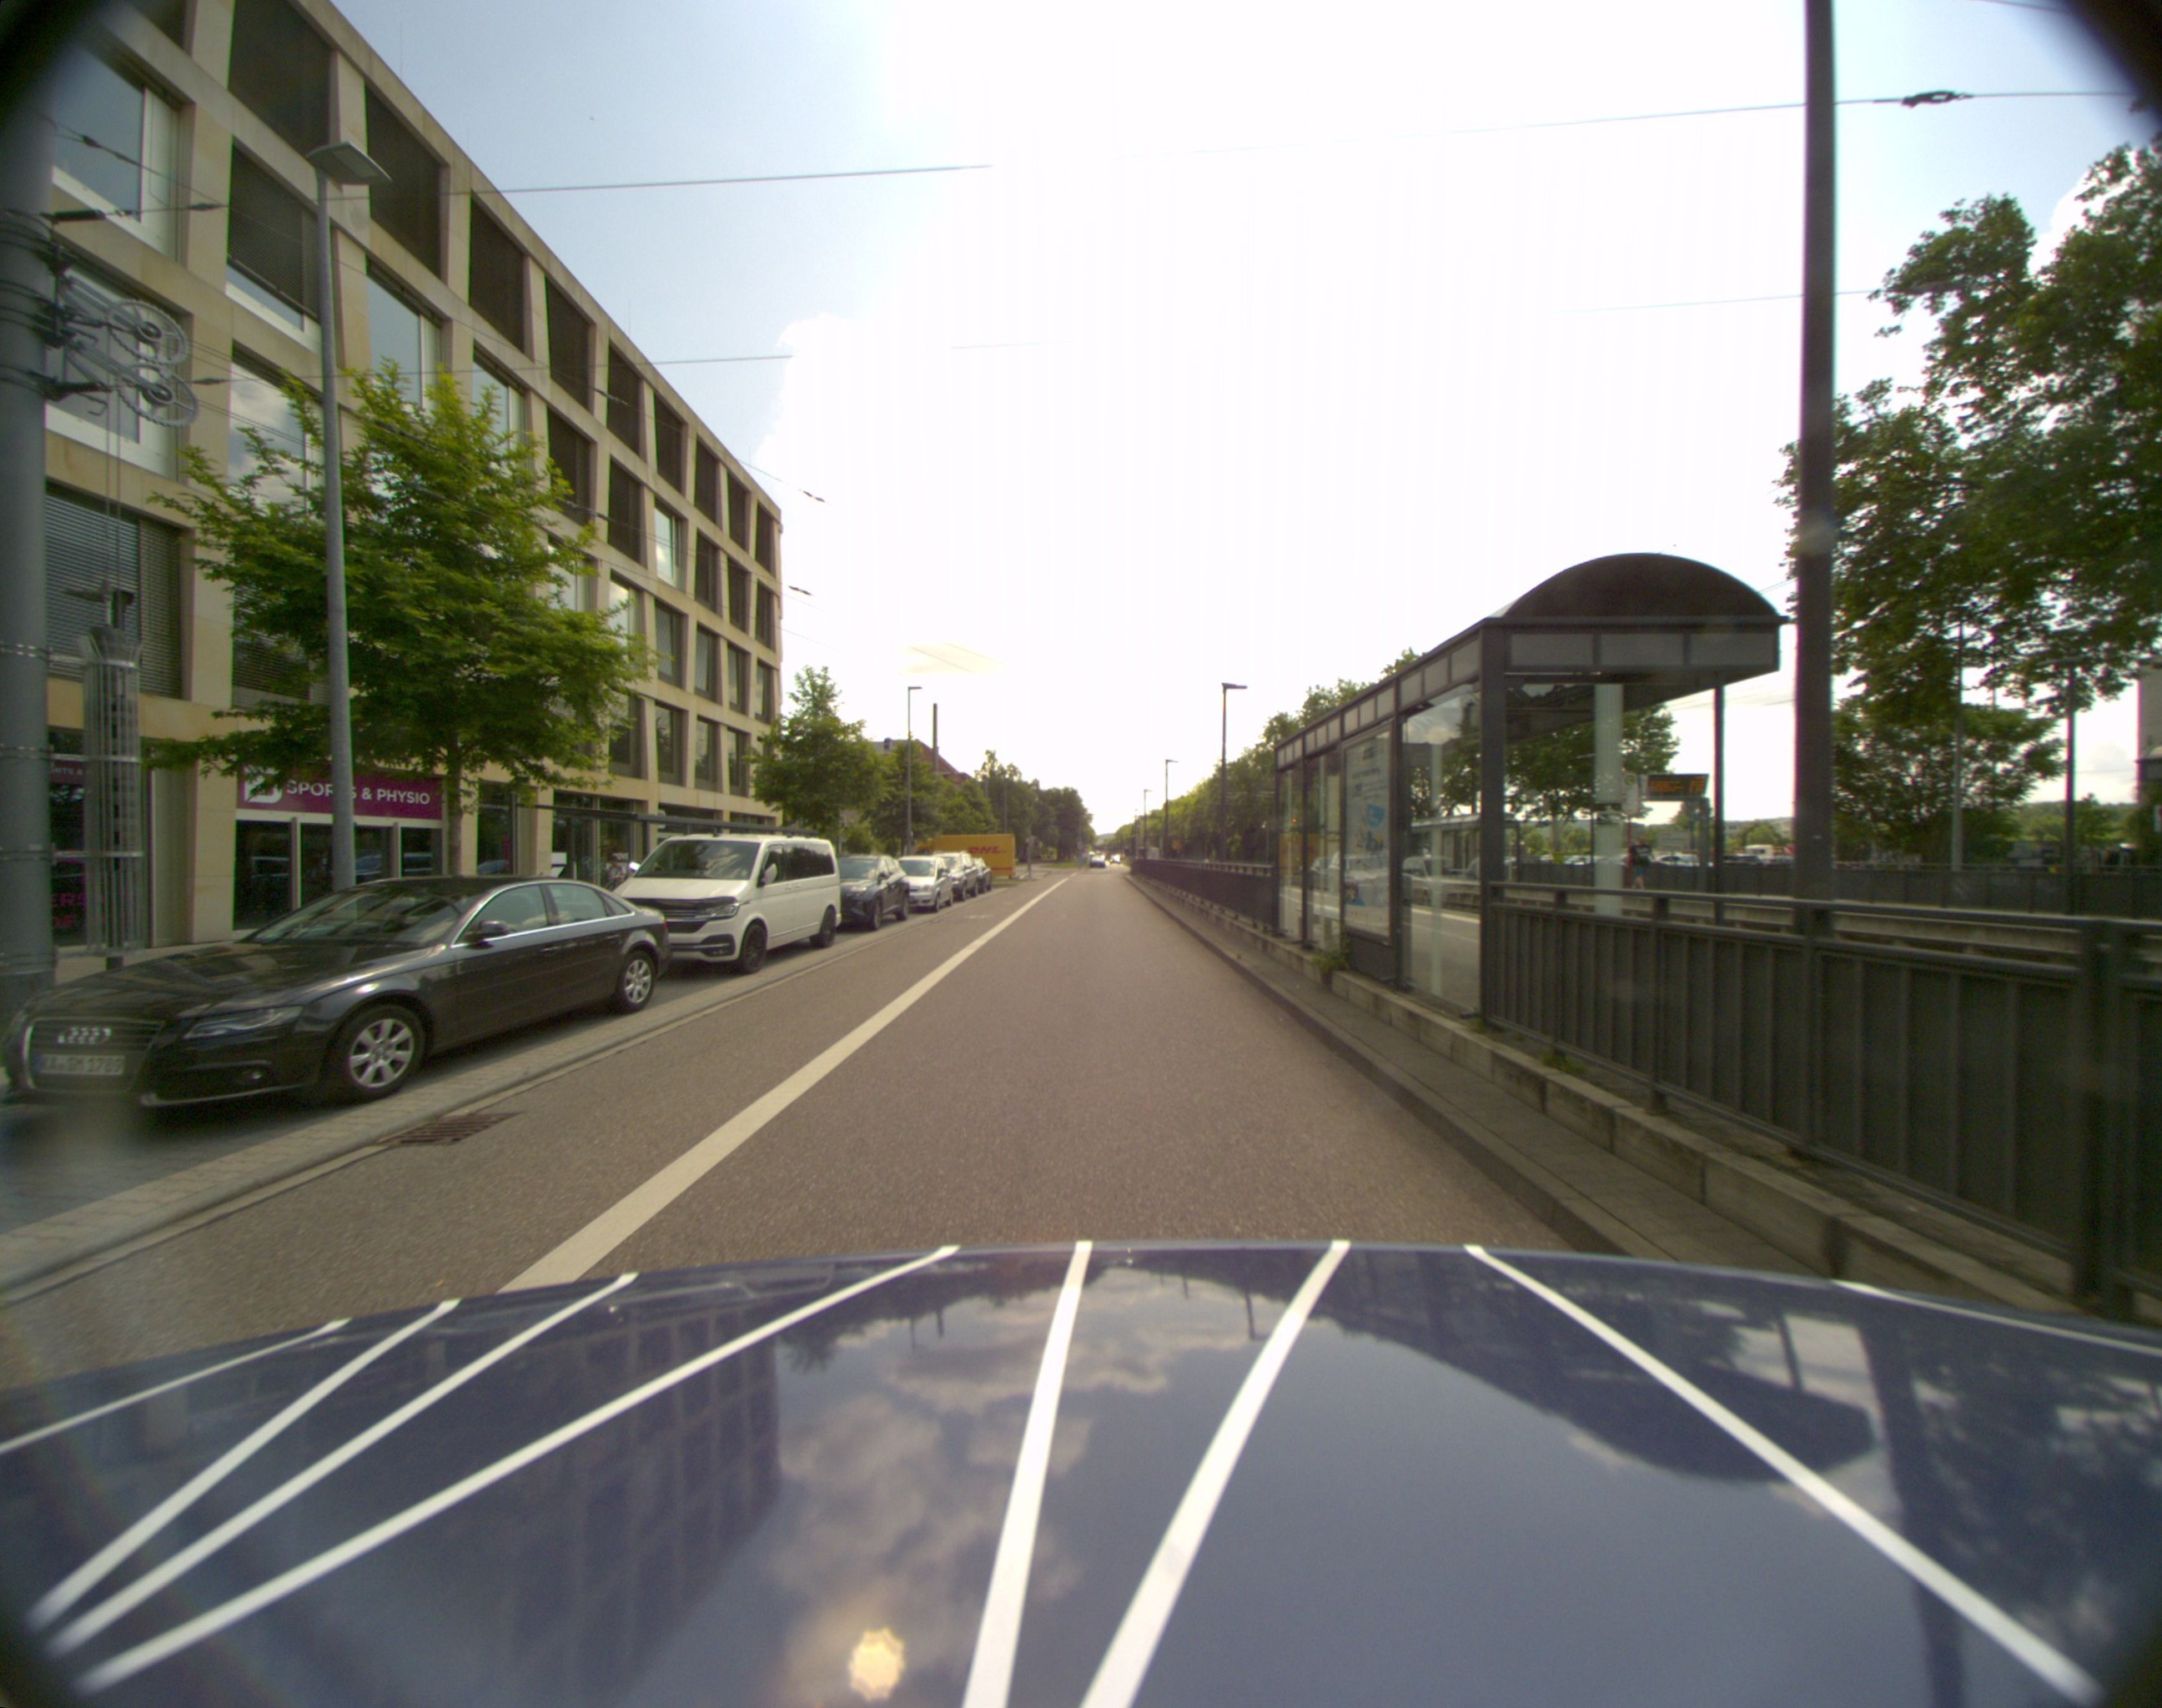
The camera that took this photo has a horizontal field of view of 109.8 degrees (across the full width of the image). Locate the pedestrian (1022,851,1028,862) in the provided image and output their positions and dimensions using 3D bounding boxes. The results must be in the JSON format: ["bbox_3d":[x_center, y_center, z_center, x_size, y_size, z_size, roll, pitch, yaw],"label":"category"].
[{"bbox_3d":[-8.302,0.385,112.764,0.625,1.599,0.623,1,1,-28],"label":"pedestrian"}]

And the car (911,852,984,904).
[{"bbox_3d":[-4.861,0.803,28.326,1.773,1.757,4.839,0,0,1],"label":"car"}]

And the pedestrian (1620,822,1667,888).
[{"bbox_3d":[15.980,0.024,21.606,0.708,1.834,0.864,0,1,0],"label":"pedestrian"}]

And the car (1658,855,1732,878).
[{"bbox_3d":[41.753,0.803,51.790,1.802,1.467,4.000,0,0,0],"label":"car"}]

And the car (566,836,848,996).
[{"bbox_3d":[-5.318,0.744,11.710,1.886,1.928,4.843,1,0,1],"label":"car"}]

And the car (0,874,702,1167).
[{"bbox_3d":[-5.391,1.004,6.574,1.886,1.478,4.563,1,0,1],"label":"car"}]

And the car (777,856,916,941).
[{"bbox_3d":[-5.204,0.897,17.532,1.725,1.631,4.527,1,0,1],"label":"car"}]

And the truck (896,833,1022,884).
[{"bbox_3d":[-6.850,0.235,43.460,6.824,2.851,2.454,0,1,-1],"label":"truck"}]

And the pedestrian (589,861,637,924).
[{"bbox_3d":[-11.848,0.951,19.265,0.639,1.542,0.905,0,1,1],"label":"pedestrian"}]

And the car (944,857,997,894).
[{"bbox_3d":[-4.824,0.923,33.743,1.695,1.496,4.068,0,0,1],"label":"car"}]

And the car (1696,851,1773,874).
[{"bbox_3d":[44.531,0.569,51.878,1.802,1.467,4.000,0,0,0],"label":"car"}]

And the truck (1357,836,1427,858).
[{"bbox_3d":[62.945,-1.415,153.902,12.818,4.050,2.748,1,1,2],"label":"truck"}]

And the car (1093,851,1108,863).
[{"bbox_3d":[2.469,0.409,98.650,1.784,1.531,4.420,1,0,-1],"label":"car"}]

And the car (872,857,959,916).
[{"bbox_3d":[-4.870,0.906,22.878,1.725,1.610,3.860,0,0,1],"label":"car"}]
